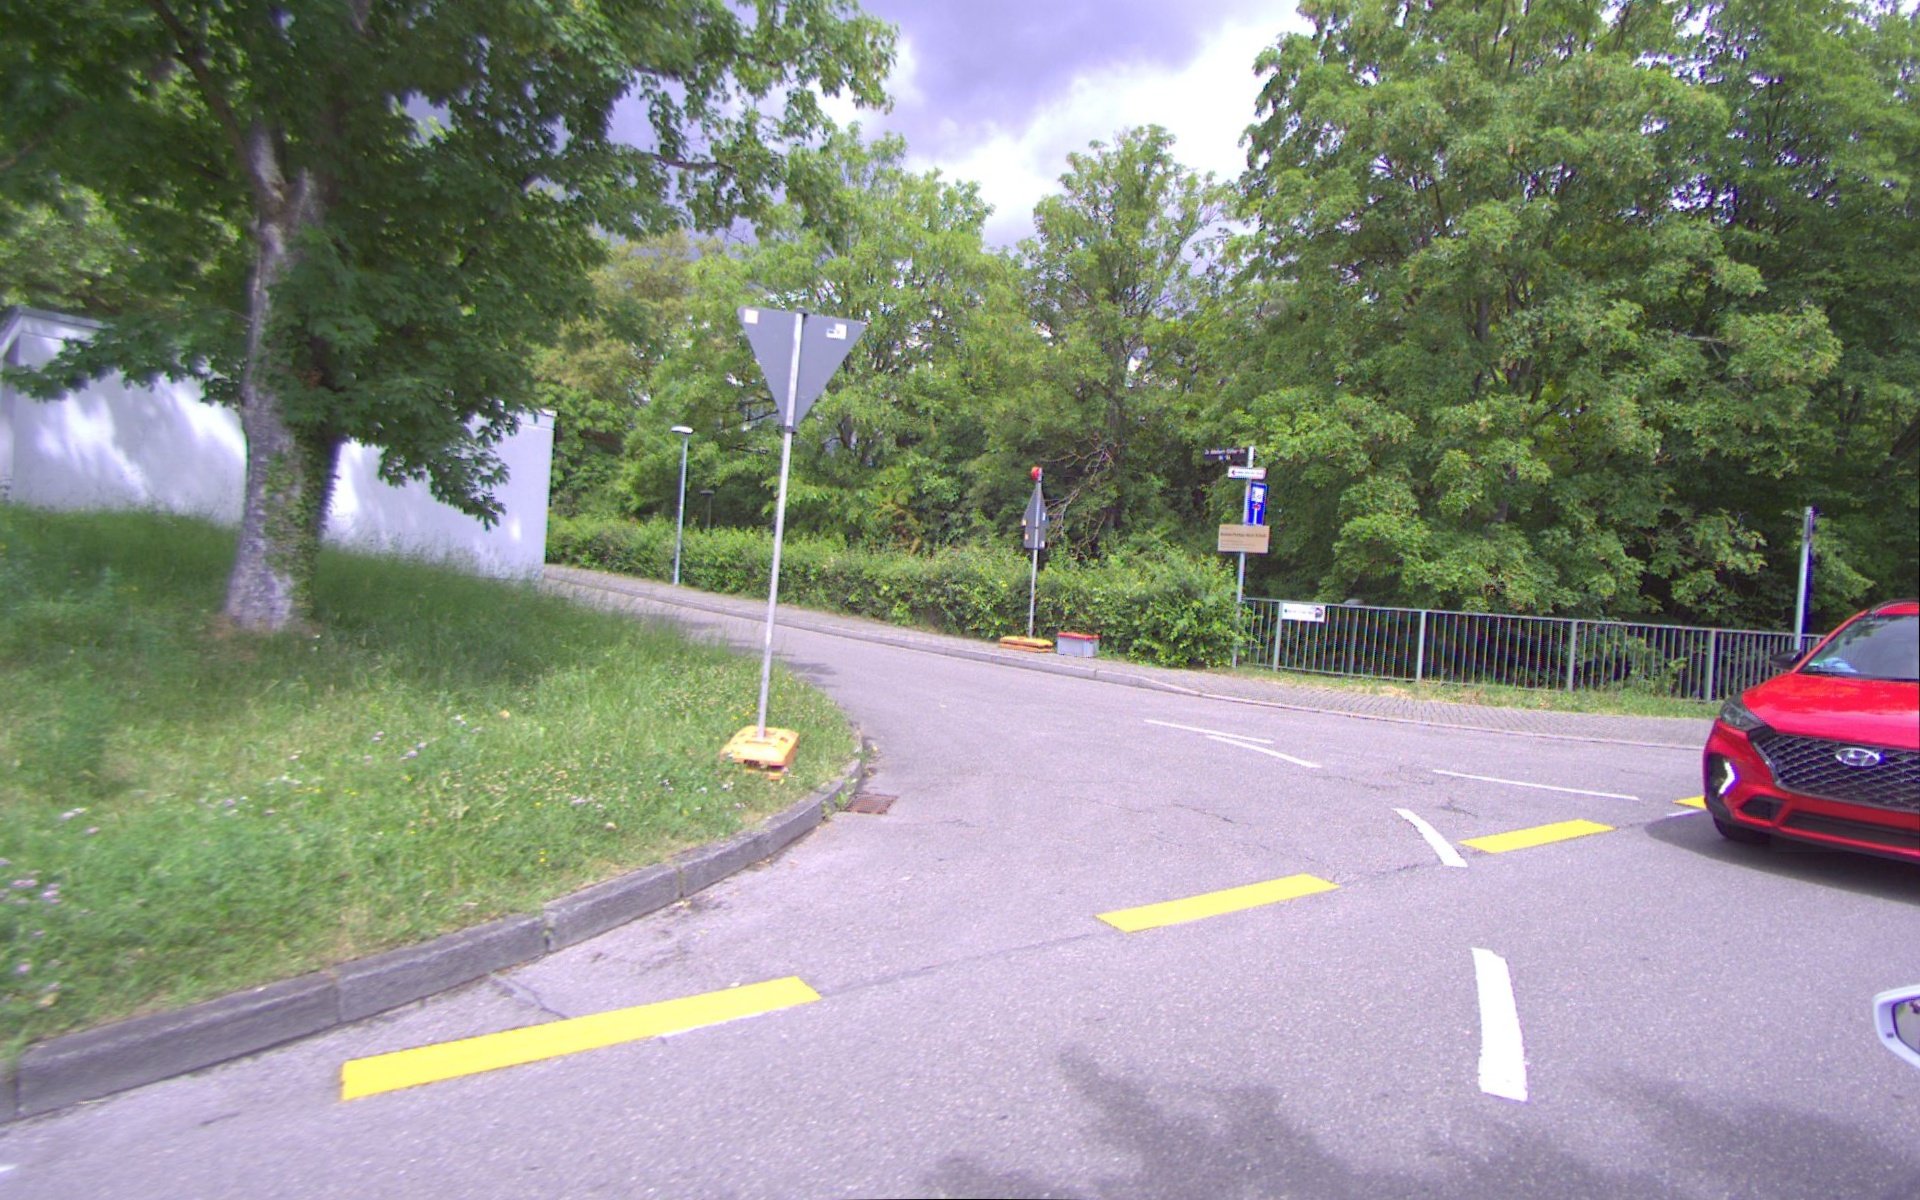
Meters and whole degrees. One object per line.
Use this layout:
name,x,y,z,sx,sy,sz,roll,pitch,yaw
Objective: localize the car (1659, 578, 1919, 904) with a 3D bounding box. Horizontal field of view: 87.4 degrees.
car,6.641,0.780,6.548,4.173,1.681,1.834,2,1,-31
